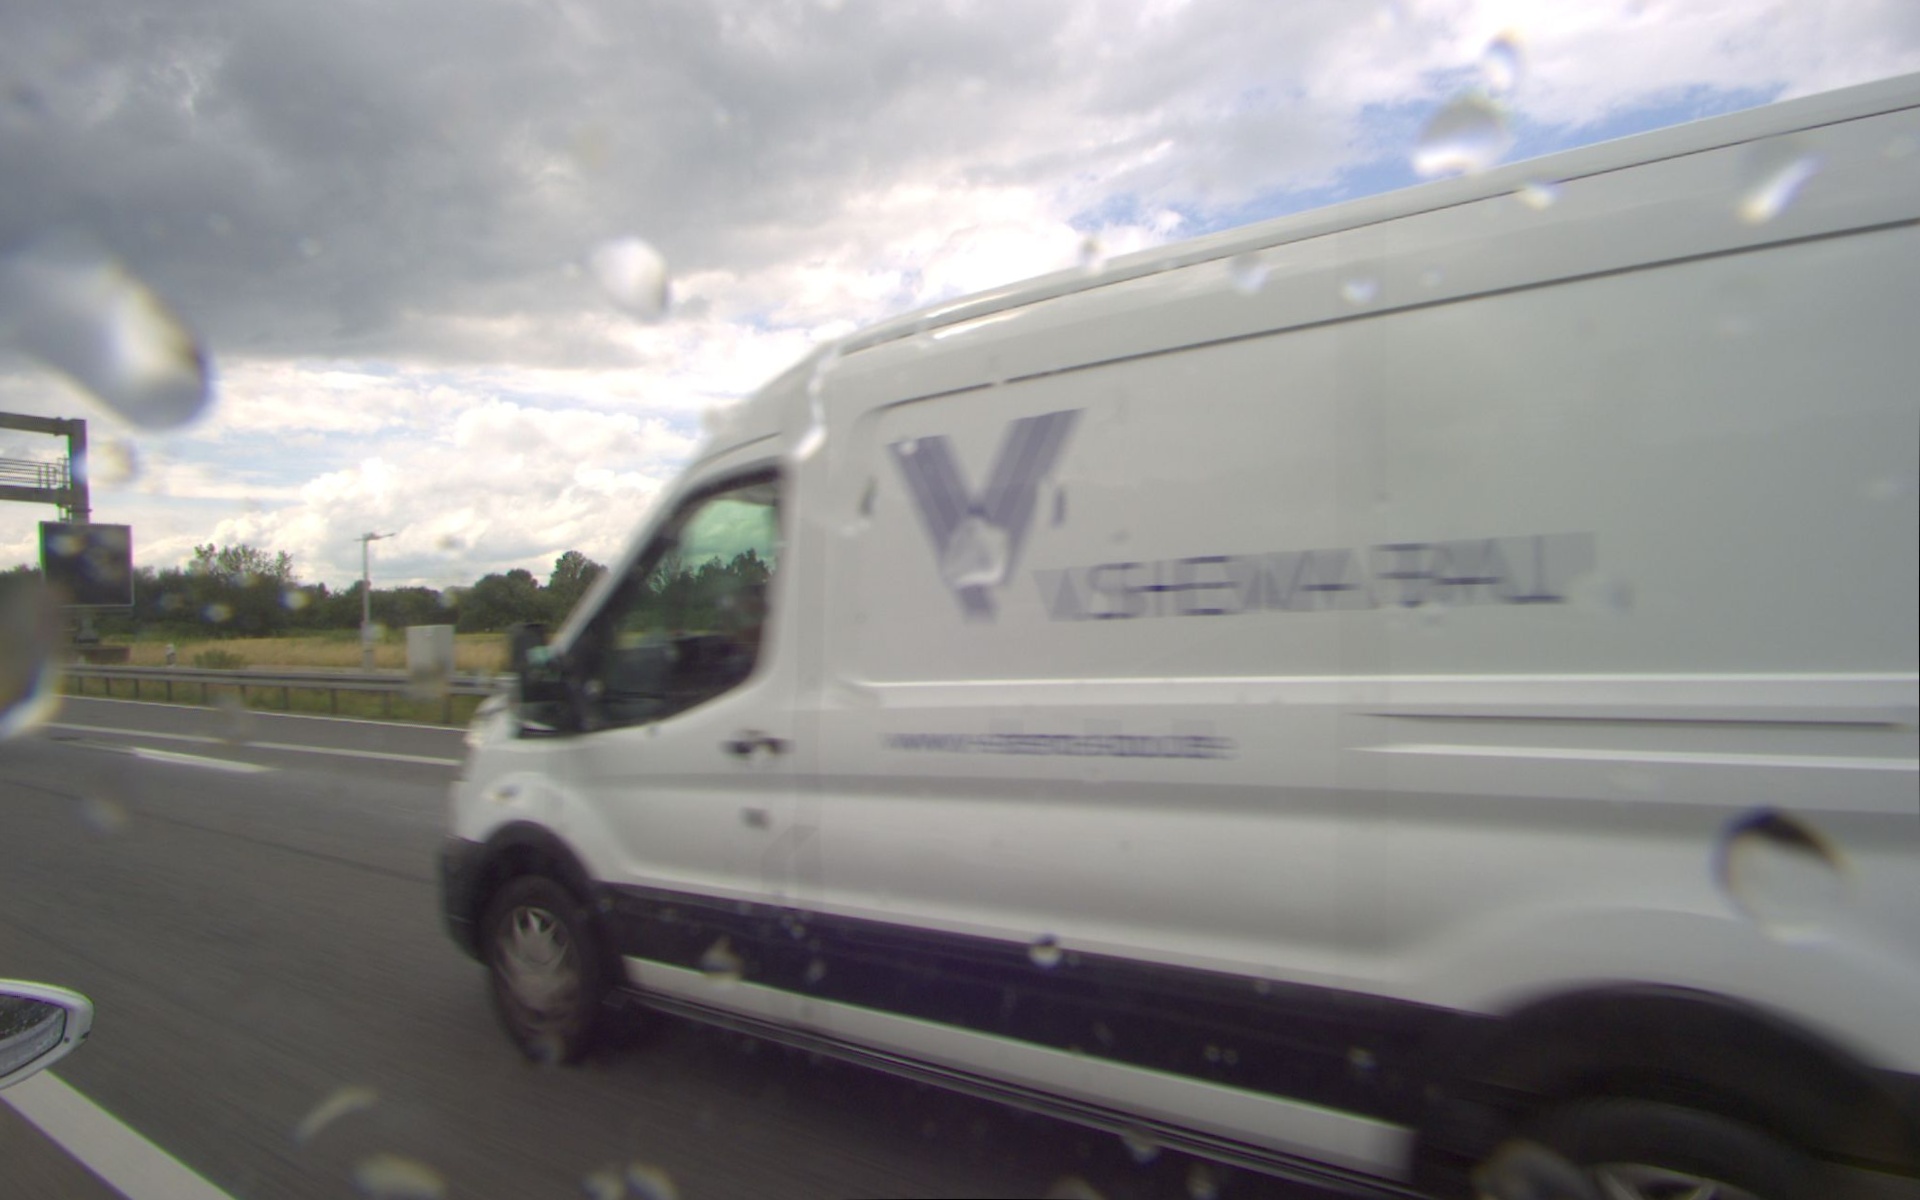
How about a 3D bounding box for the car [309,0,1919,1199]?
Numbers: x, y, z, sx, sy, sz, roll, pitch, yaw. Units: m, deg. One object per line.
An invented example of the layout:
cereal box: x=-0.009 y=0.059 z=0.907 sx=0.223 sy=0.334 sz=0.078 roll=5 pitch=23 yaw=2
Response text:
car: x=0.090 y=0.184 z=3.619 sx=5.372 sy=2.533 sz=2.135 roll=-1 pitch=-1 yaw=33
